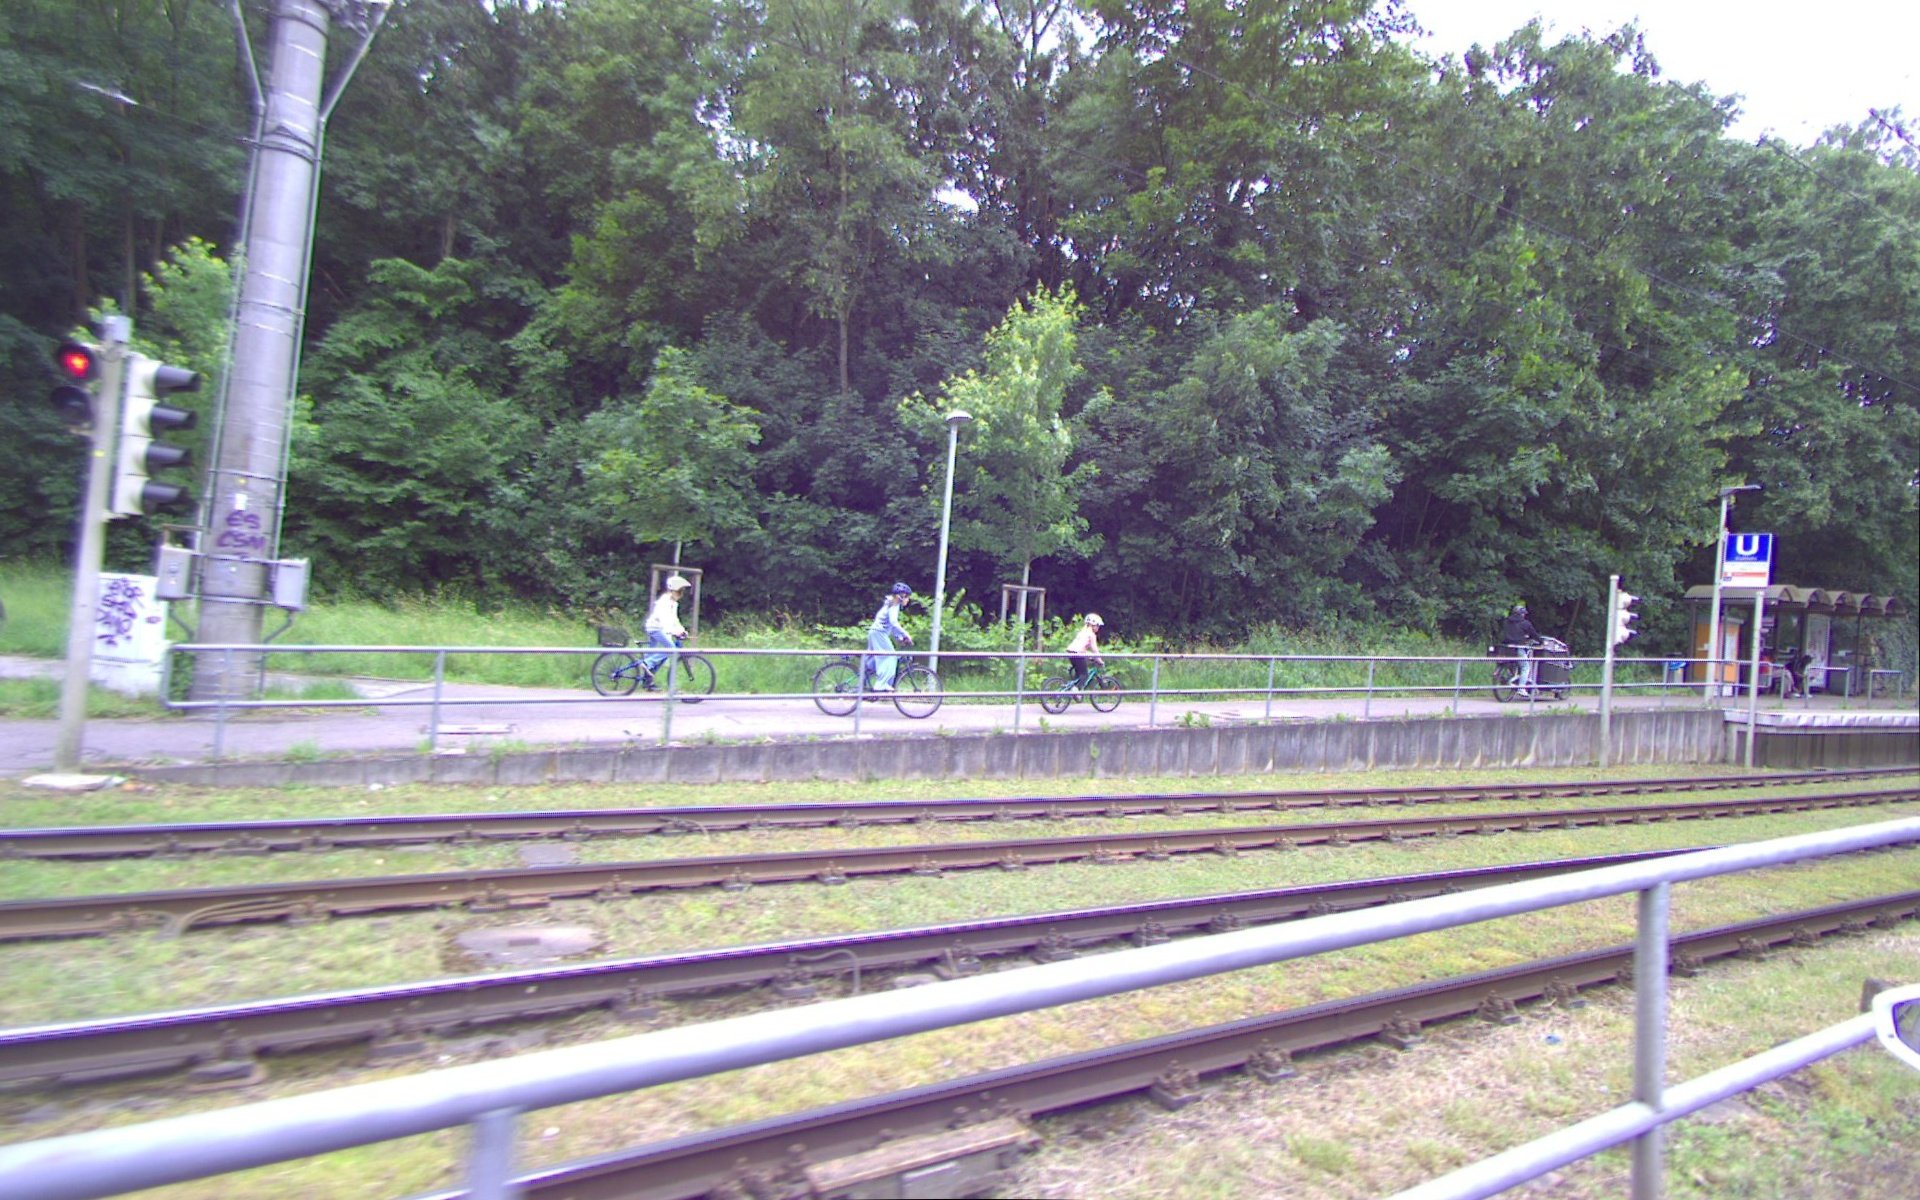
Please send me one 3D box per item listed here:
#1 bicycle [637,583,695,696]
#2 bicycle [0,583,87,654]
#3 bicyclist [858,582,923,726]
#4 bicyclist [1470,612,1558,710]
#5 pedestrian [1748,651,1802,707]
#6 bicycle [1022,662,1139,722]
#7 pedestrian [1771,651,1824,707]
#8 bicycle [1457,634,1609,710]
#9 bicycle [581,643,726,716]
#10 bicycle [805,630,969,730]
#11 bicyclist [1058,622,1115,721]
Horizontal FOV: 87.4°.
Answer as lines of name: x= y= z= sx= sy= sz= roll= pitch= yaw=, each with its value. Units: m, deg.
bicycle: x=-3.654 y=0.484 z=12.503 sx=0.506 sy=1.347 sz=0.455 roll=4 pitch=1 yaw=-3
bicycle: x=-13.193 y=0.246 z=13.921 sx=0.610 sy=0.896 sz=1.746 roll=7 pitch=0 yaw=-1
bicyclist: x=-0.862 y=0.660 z=12.399 sx=0.613 sy=1.697 sz=0.474 roll=4 pitch=1 yaw=-12
bicyclist: x=10.363 y=1.137 z=18.793 sx=1.276 sy=1.734 sz=0.730 roll=3 pitch=2 yaw=-26
pedestrian: x=21.475 y=2.078 z=26.475 sx=0.778 sy=1.343 sz=0.768 roll=4 pitch=1 yaw=-29
bicycle: x=1.666 y=1.264 z=13.834 sx=1.536 sy=0.748 sz=0.452 roll=2 pitch=2 yaw=-22
pedestrian: x=22.447 y=2.112 z=26.934 sx=0.778 sy=1.343 sz=0.768 roll=7 pitch=0 yaw=-29
bicycle: x=10.935 y=1.383 z=19.102 sx=3.303 sy=1.307 sz=0.730 roll=3 pitch=2 yaw=-27
bicycle: x=-3.804 y=0.980 z=12.514 sx=1.621 sy=0.748 sz=0.455 roll=4 pitch=1 yaw=-3
bicycle: x=-0.906 y=0.984 z=12.398 sx=1.911 sy=1.055 sz=0.474 roll=5 pitch=1 yaw=-12
bicyclist: x=1.745 y=0.978 z=13.849 sx=0.572 sy=1.319 sz=0.452 roll=2 pitch=2 yaw=-22
